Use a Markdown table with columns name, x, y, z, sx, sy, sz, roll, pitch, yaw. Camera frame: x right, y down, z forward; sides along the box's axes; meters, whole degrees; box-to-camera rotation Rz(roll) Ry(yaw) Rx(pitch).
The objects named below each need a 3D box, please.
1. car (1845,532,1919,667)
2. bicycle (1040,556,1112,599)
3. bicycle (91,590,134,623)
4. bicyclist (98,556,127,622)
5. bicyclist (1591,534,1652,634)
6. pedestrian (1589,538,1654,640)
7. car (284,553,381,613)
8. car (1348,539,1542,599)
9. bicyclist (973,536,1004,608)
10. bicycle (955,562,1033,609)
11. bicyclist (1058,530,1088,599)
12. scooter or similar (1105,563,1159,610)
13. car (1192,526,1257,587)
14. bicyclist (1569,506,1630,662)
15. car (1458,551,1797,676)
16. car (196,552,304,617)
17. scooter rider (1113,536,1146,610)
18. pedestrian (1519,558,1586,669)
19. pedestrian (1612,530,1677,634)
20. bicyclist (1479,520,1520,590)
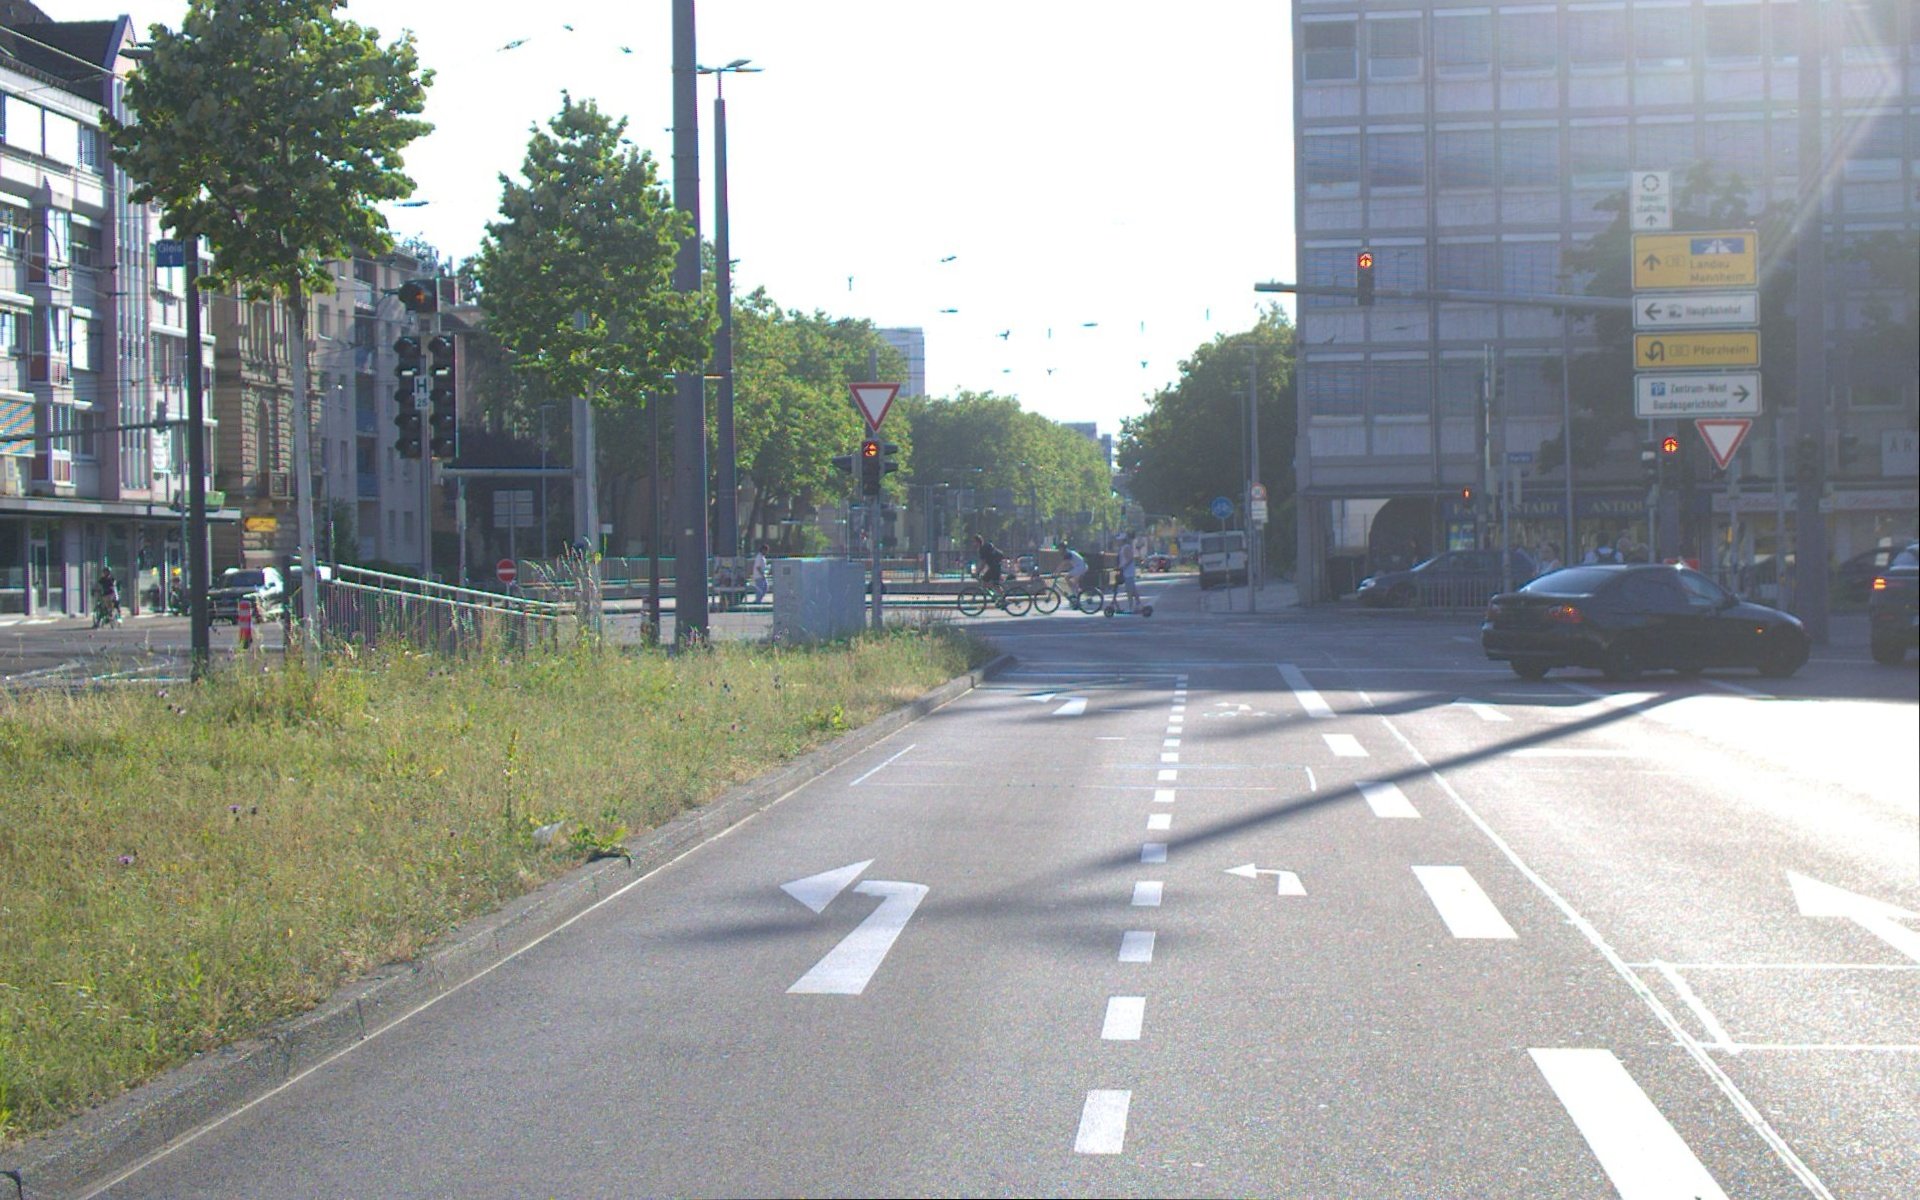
| name | x | y | z | sx | sy | sz | roll | pitch | yaw |
| --- | --- | --- | --- | --- | --- | --- | --- | --- | --- |
| car | 13.316 | -0.037 | 46.479 | 1.996 | 1.687 | 3.995 | 1 | 2 | 23 |
| bicycle | 2.919 | -0.569 | 86.485 | 1.731 | 1.056 | 0.539 | -1 | 1 | -6 |
| bicycle | -24.316 | 0.175 | 98.622 | 0.598 | 0.912 | 1.836 | -1 | 1 | 6 |
| bicyclist | -24.335 | -0.319 | 98.728 | 0.593 | 1.855 | 0.642 | -1 | 1 | 6 |
| bicyclist | 11.069 | -0.267 | 57.541 | 0.959 | 1.656 | 0.691 | 0 | 1 | 7 |
| pedestrian | 10.422 | -0.175 | 54.181 | 0.878 | 1.592 | 0.655 | -1 | 1 | 2 |
| car | -20.157 | -0.568 | 110.586 | 1.994 | 1.853 | 3.999 | -1 | 1 | 6 |
| car | 11.094 | -0.718 | 78.697 | 3.986 | 1.284 | 1.848 | -1 | 1 | -13 |
| bicyclist | 0.672 | -0.668 | 81.599 | 0.663 | 1.706 | 0.538 | -1 | 1 | -5 |
| bicycle | 0.797 | -0.347 | 81.620 | 1.775 | 1.068 | 0.535 | -1 | 1 | -6 |
| bicyclist | 2.842 | -0.900 | 86.476 | 0.663 | 1.706 | 0.538 | -1 | 1 | -5 |
| scooter or similar | 3.989 | -0.312 | 79.915 | 1.171 | 1.068 | 0.530 | -1 | 1 | -5 |
| car | 11.000 | -1.801 | 143.229 | 2.486 | 2.384 | 5.934 | -2 | 0 | 3 |
| bicyclist | 8.418 | -0.220 | 45.274 | 0.643 | 2.006 | 1.067 | 1 | 2 | 5 |
| car | 8.107 | 0.129 | 41.667 | 3.987 | 1.421 | 1.749 | -1 | 1 | -35 |
| car | -21.160 | -0.479 | 102.655 | 1.994 | 1.853 | 3.999 | -1 | 1 | 6 |
| scooter rider | 3.937 | -0.635 | 79.905 | 0.663 | 1.706 | 0.527 | -1 | 1 | -5 |
| pedestrian | 8.623 | 0.192 | 50.050 | 0.878 | 1.592 | 0.655 | -1 | 1 | 4 |
| pedestrian | 10.634 | -0.286 | 53.421 | 0.878 | 1.592 | 0.655 | -1 | 1 | 2 |
| bicyclist | 13.519 | -1.127 | 86.181 | 0.898 | 1.747 | 0.655 | -1 | 1 | -1 |
